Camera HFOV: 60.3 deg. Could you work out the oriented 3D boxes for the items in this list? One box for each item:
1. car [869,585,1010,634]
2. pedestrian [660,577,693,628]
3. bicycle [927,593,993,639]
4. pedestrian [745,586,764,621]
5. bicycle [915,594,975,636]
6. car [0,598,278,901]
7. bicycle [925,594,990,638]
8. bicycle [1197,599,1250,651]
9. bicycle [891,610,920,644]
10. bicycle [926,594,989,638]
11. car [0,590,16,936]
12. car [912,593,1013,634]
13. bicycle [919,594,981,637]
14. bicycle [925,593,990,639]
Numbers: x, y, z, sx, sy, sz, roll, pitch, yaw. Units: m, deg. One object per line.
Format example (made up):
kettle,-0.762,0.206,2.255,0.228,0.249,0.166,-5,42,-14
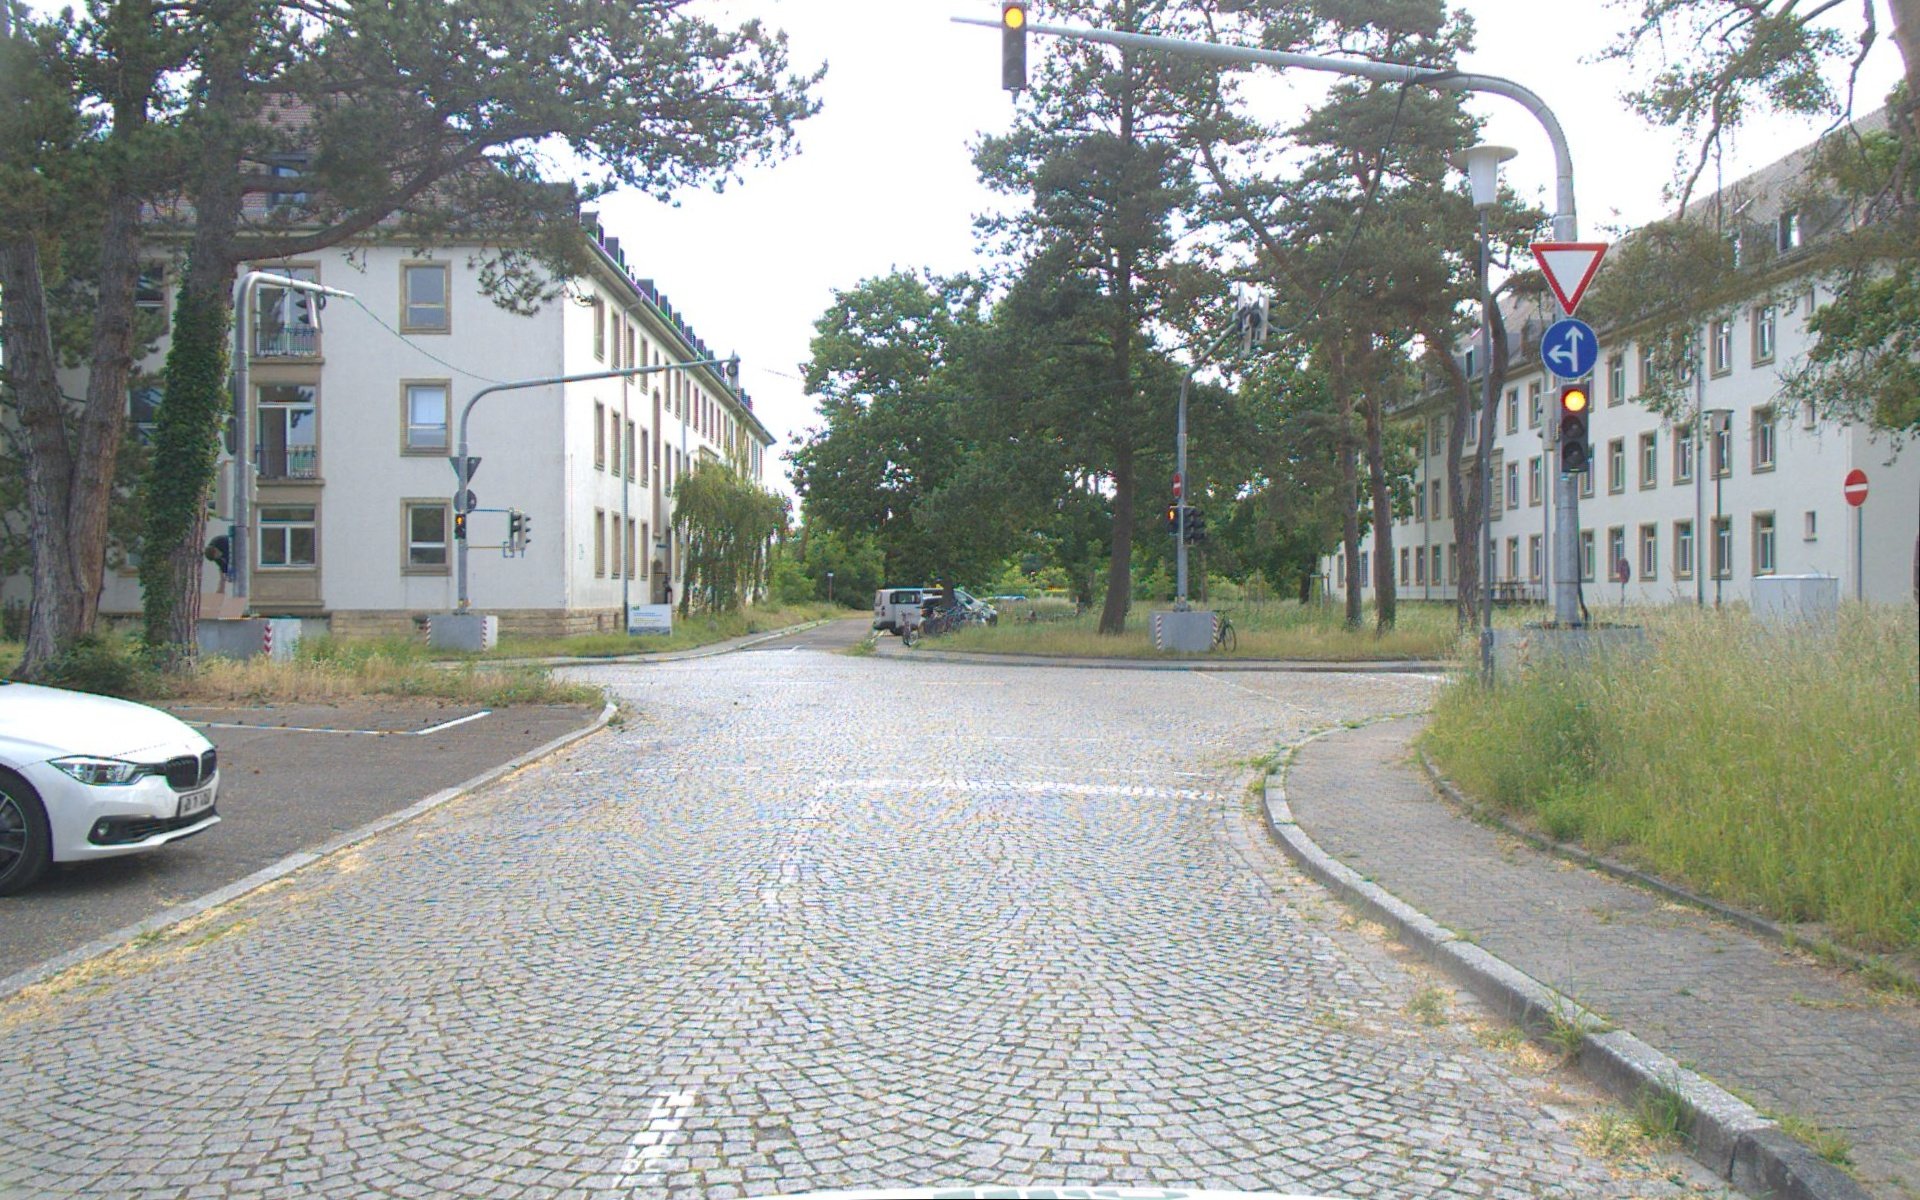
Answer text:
car,-0.877,0.380,69.265,5.595,1.944,2.222,0,0,-14
pedestrian,-11.407,0.106,66.622,1.064,2.049,1.022,0,0,4
bicycle,-0.007,0.501,51.394,2.027,1.402,0.620,0,0,-1
pedestrian,-12.222,0.202,98.322,0.938,2.049,0.796,0,0,8
bicycle,-0.504,0.508,55.758,2.027,1.402,0.620,0,0,-1
car,-6.416,0.705,9.071,4.557,1.469,1.800,2,0,-5
bicycle,-0.083,0.505,52.687,2.027,1.402,0.620,0,0,-1
bicycle,6.239,0.568,39.272,0.890,1.197,1.873,0,0,-2
bicycle,-1.626,0.792,49.557,0.605,0.980,2.078,0,0,5
bicycle,-0.094,0.508,53.484,2.027,1.402,0.620,0,0,-1
car,-6.208,0.673,6.496,3.910,1.574,1.722,2,0,-6
car,0.078,0.534,65.917,3.857,1.571,1.997,0,0,-6
bicycle,-0.335,0.504,54.277,2.027,1.402,0.620,0,0,-1
bicycle,-0.065,0.502,52.063,2.027,1.402,0.620,0,0,-1
